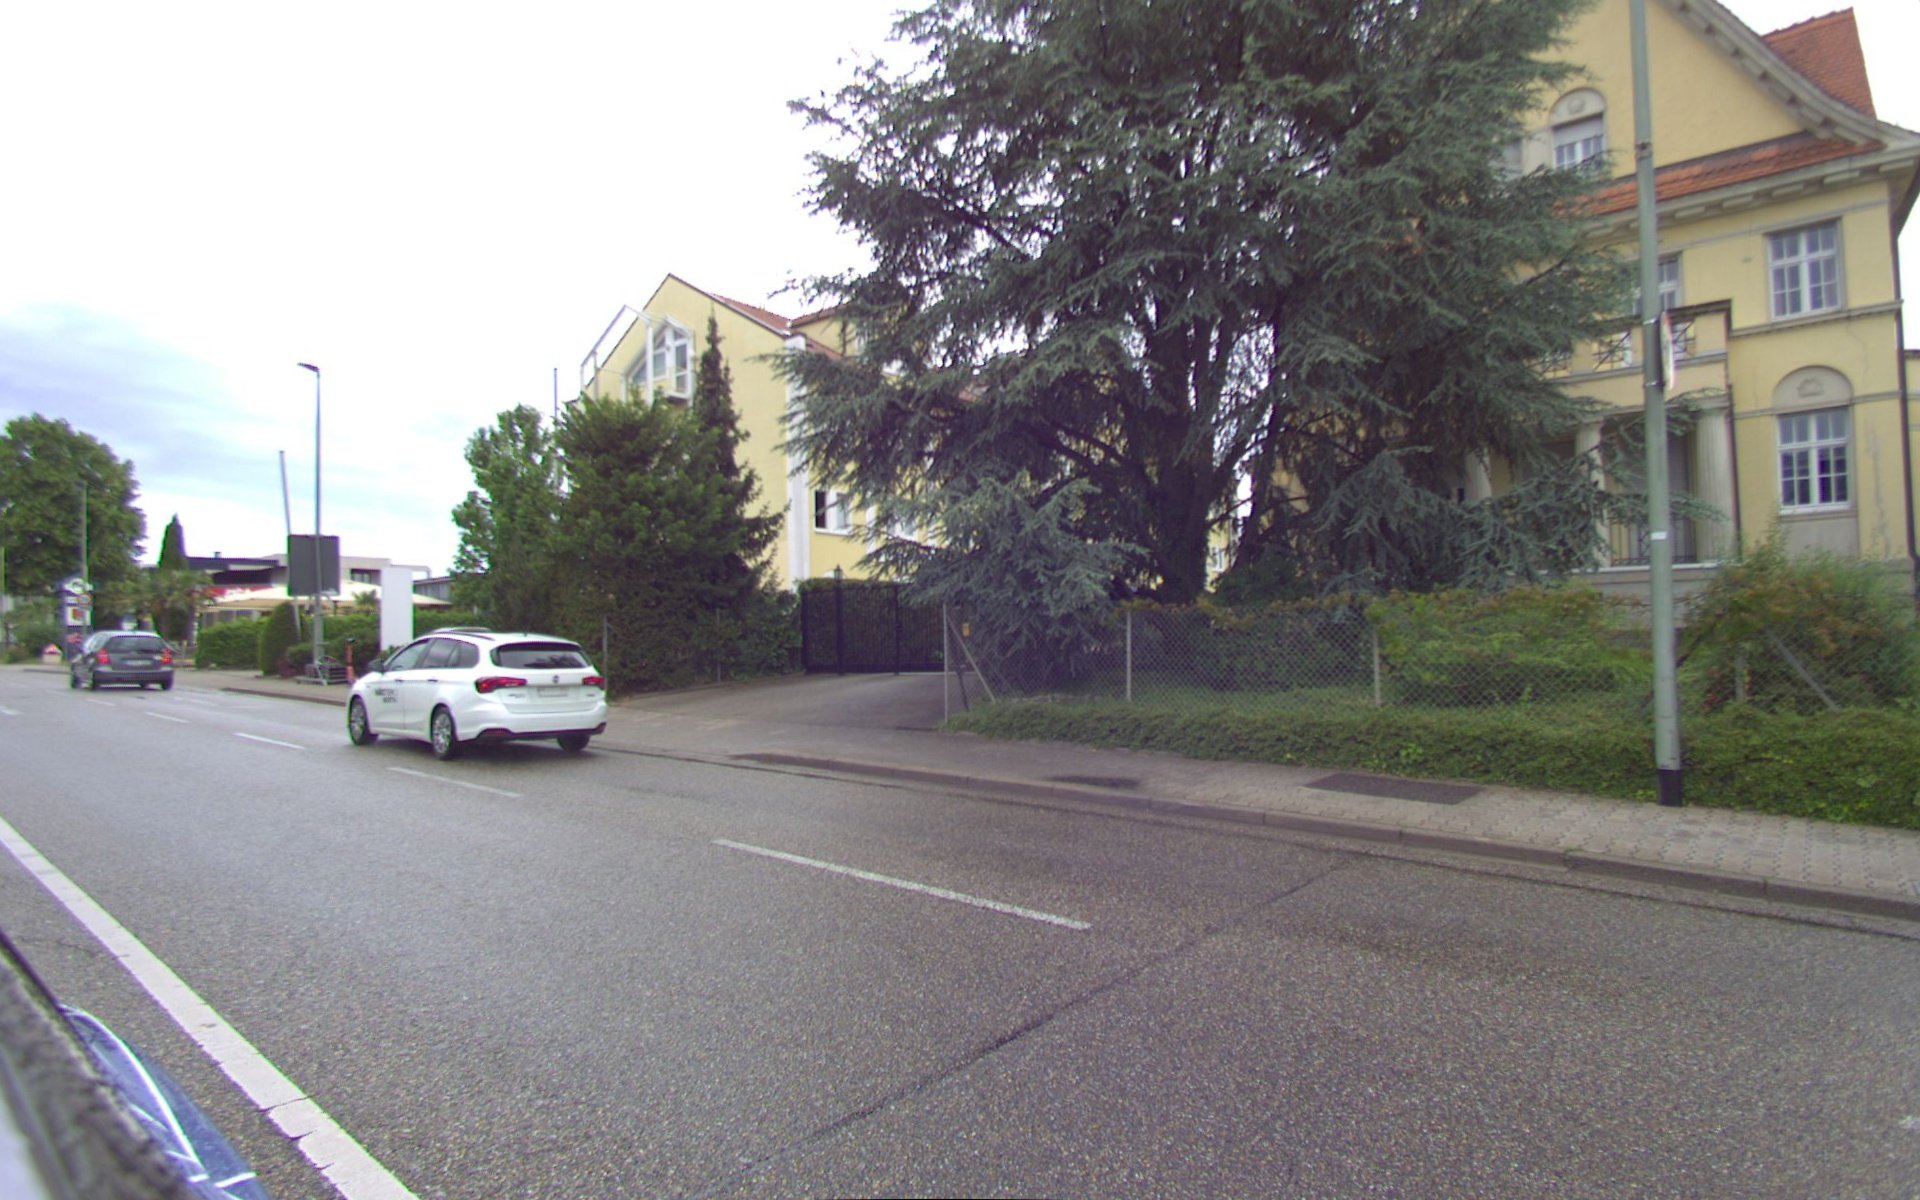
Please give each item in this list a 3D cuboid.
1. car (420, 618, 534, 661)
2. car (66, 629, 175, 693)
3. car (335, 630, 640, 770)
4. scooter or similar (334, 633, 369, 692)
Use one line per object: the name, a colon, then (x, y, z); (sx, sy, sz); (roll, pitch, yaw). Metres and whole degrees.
car: (-19.728, 1.579, 41.450); (3.876, 1.664, 1.720); (1, -2, -44)
car: (-22.925, 1.665, 27.603); (3.547, 1.611, 1.682); (-4, -3, 40)
car: (-6.152, 1.138, 12.976); (4.305, 1.465, 1.947); (-1, -2, 40)
scooter or similar: (-15.313, 1.545, 25.453); (0.498, 1.416, 1.884); (1, -2, -39)
